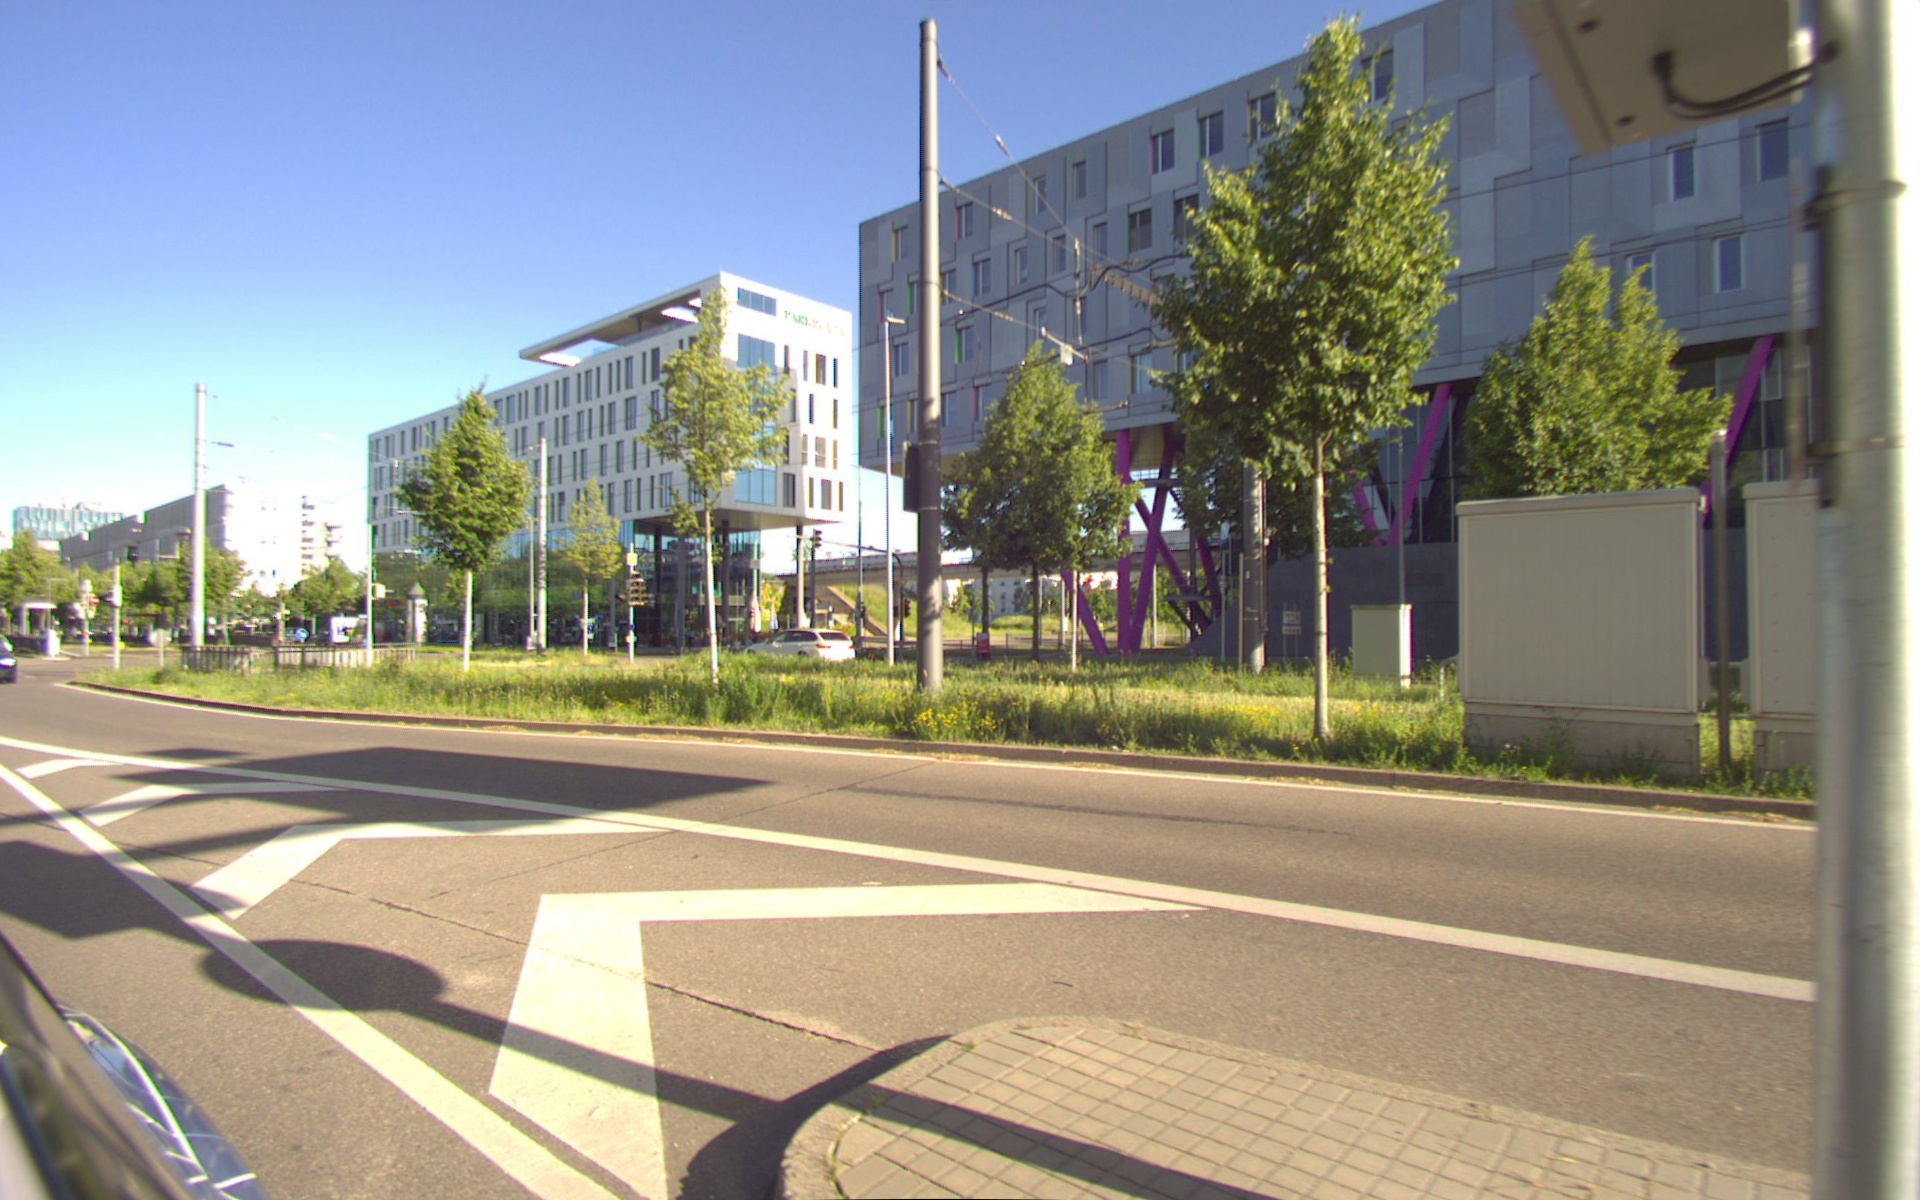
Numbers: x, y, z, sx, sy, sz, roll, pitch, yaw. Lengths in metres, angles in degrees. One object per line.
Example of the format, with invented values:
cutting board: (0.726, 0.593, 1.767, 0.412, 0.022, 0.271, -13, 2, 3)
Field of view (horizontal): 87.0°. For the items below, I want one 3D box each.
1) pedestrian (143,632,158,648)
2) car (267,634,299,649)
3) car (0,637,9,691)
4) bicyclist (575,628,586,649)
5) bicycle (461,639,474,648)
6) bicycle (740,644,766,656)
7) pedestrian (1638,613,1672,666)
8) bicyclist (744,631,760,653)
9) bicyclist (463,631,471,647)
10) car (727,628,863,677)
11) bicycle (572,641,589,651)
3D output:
pedestrian: (-74.041, 3.663, 92.552, 1.053, 1.477, 0.845, 0, -2, -44)
car: (-74.695, 4.545, 111.602, 4.340, 1.538, 1.780, -2, 0, 40)
car: (-29.668, 1.902, 29.922, 4.340, 1.538, 1.780, -2, 0, 40)
bicyclist: (-30.785, 3.109, 82.093, 0.837, 1.739, 0.524, -3, -3, 42)
bicycle: (-45.678, 4.032, 93.806, 1.691, 0.869, 0.476, -2, -2, 40)
bicycle: (-15.859, 3.793, 77.552, 0.749, 0.869, 1.804, -3, -2, 43)
pedestrian: (24.755, 1.400, 36.036, 0.871, 1.836, 0.713, -2, -3, 41)
bicyclist: (-15.911, 3.215, 77.526, 0.751, 1.595, 0.943, -3, -3, 43)
bicyclist: (-45.661, 3.636, 93.791, 0.552, 1.434, 0.476, -2, -3, 41)
car: (-5.810, 1.798, 35.265, 4.867, 1.574, 1.973, -2, -2, 40)
bicycle: (-30.773, 3.728, 82.070, 1.833, 0.869, 0.522, -2, -2, 42)
